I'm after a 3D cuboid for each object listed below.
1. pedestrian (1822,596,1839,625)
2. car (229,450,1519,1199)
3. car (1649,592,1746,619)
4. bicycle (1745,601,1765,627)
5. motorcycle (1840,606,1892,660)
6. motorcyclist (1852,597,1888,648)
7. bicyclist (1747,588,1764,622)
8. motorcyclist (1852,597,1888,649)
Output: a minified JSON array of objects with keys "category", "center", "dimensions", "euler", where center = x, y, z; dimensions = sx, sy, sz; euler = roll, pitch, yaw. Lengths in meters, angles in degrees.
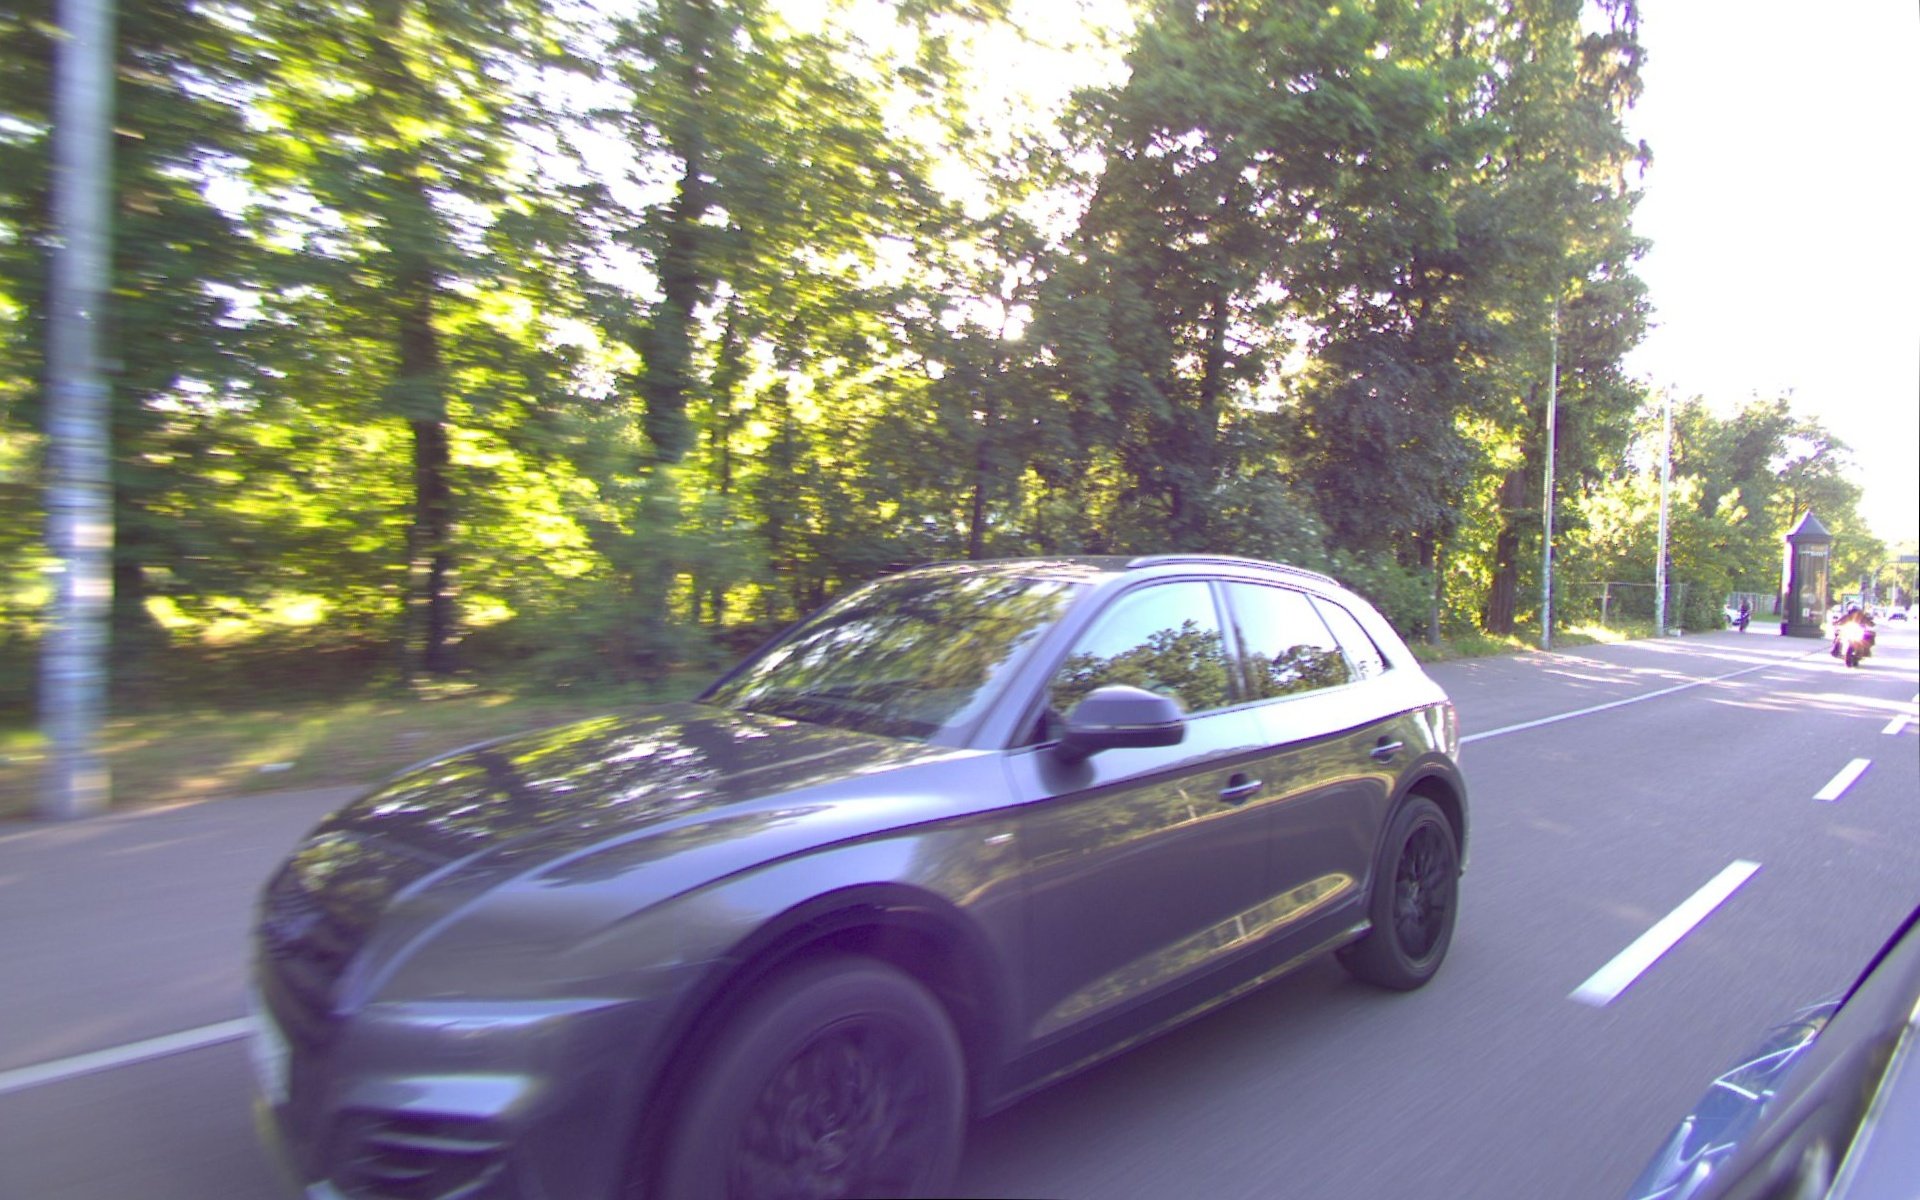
[{"category":"pedestrian","center":[52.267,0.613,60.772],"dimensions":[0.866,1.709,0.628],"euler":[0,0,-37]},{"category":"car","center":[0.197,0.592,3.686],"dimensions":[4.466,1.625,1.895],"euler":[0,0,-42]},{"category":"car","center":[44.552,0.311,61.241],"dimensions":[1.787,1.395,4.386],"euler":[0,3,-37]},{"category":"bicycle","center":[35.805,0.607,45.569],"dimensions":[0.554,1.151,1.835],"euler":[1,1,43]},{"category":"motorcycle","center":[22.847,0.801,25.504],"dimensions":[0.913,1.266,2.916],"euler":[-1,-1,43]},{"category":"motorcyclist","center":[23.403,0.562,26.016],"dimensions":[0.669,1.280,0.813],"euler":[0,0,43]},{"category":"bicyclist","center":[35.787,0.225,45.530],"dimensions":[0.520,1.487,0.847],"euler":[2,1,43]},{"category":"motorcyclist","center":[22.815,0.565,25.375],"dimensions":[0.669,1.280,0.813],"euler":[0,0,43]}]
